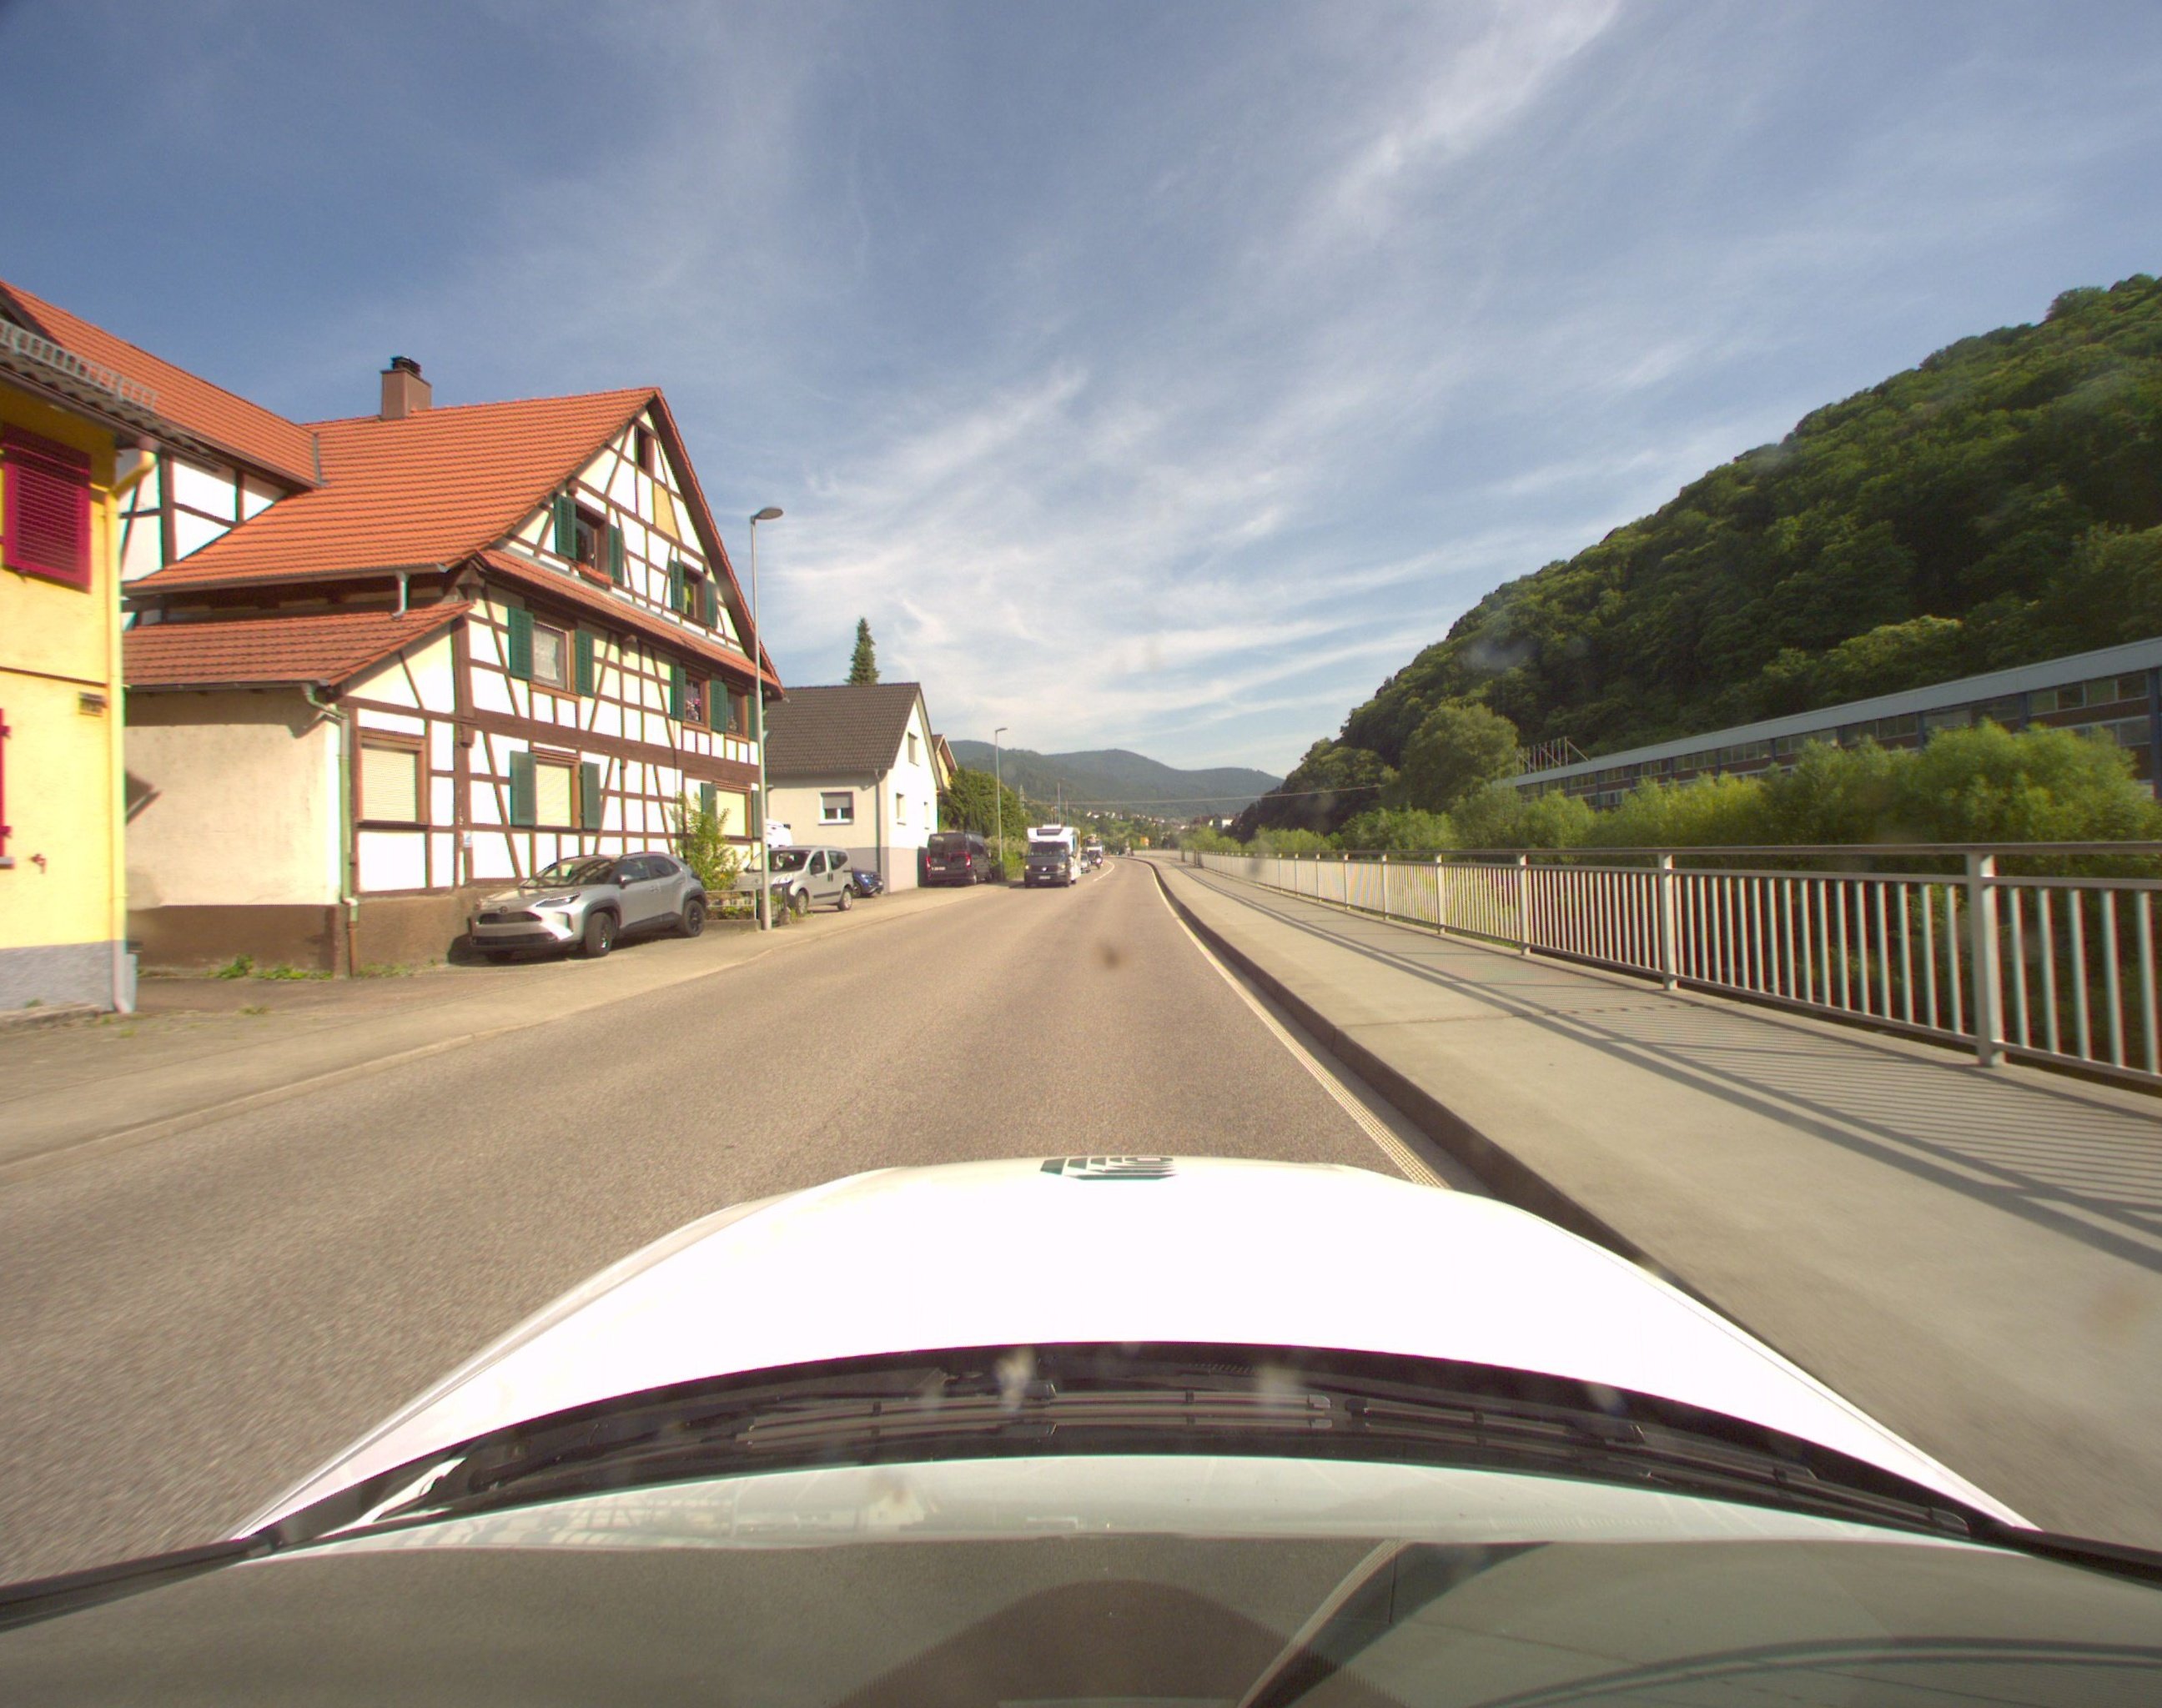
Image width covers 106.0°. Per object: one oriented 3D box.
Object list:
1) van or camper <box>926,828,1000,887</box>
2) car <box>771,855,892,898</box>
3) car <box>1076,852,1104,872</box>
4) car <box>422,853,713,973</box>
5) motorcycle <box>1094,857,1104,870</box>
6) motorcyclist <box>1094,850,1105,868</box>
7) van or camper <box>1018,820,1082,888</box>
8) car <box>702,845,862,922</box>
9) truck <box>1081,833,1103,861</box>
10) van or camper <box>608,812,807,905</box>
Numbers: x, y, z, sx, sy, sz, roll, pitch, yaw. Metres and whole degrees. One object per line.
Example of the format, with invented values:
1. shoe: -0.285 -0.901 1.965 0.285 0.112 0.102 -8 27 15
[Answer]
1. van or camper: -5.539 0.158 39.082 2.138 2.555 5.910 -2 0 5
2. car: -9.364 0.825 30.766 3.901 1.550 1.909 0 0 3
3. car: 0.721 0.613 62.611 1.620 1.485 4.010 -1 0 9
4. car: -7.934 0.807 13.154 1.876 1.519 4.097 -3 0 3
5. motorcycle: 1.633 0.859 72.968 0.650 1.068 2.186 -2 0 7
6. motorcyclist: 1.630 0.431 72.740 0.821 1.558 0.629 -2 -1 7
7. van or camper: -1.333 -0.032 39.136 2.185 2.938 7.136 -1 0 5
8. car: -7.155 0.644 20.002 1.890 1.664 4.276 -1 0 7
9. truck: 1.531 -0.967 119.360 2.572 3.931 11.295 -3 0 -2
10. van or camper: -11.315 0.147 24.813 5.143 2.663 2.199 0 0 10
